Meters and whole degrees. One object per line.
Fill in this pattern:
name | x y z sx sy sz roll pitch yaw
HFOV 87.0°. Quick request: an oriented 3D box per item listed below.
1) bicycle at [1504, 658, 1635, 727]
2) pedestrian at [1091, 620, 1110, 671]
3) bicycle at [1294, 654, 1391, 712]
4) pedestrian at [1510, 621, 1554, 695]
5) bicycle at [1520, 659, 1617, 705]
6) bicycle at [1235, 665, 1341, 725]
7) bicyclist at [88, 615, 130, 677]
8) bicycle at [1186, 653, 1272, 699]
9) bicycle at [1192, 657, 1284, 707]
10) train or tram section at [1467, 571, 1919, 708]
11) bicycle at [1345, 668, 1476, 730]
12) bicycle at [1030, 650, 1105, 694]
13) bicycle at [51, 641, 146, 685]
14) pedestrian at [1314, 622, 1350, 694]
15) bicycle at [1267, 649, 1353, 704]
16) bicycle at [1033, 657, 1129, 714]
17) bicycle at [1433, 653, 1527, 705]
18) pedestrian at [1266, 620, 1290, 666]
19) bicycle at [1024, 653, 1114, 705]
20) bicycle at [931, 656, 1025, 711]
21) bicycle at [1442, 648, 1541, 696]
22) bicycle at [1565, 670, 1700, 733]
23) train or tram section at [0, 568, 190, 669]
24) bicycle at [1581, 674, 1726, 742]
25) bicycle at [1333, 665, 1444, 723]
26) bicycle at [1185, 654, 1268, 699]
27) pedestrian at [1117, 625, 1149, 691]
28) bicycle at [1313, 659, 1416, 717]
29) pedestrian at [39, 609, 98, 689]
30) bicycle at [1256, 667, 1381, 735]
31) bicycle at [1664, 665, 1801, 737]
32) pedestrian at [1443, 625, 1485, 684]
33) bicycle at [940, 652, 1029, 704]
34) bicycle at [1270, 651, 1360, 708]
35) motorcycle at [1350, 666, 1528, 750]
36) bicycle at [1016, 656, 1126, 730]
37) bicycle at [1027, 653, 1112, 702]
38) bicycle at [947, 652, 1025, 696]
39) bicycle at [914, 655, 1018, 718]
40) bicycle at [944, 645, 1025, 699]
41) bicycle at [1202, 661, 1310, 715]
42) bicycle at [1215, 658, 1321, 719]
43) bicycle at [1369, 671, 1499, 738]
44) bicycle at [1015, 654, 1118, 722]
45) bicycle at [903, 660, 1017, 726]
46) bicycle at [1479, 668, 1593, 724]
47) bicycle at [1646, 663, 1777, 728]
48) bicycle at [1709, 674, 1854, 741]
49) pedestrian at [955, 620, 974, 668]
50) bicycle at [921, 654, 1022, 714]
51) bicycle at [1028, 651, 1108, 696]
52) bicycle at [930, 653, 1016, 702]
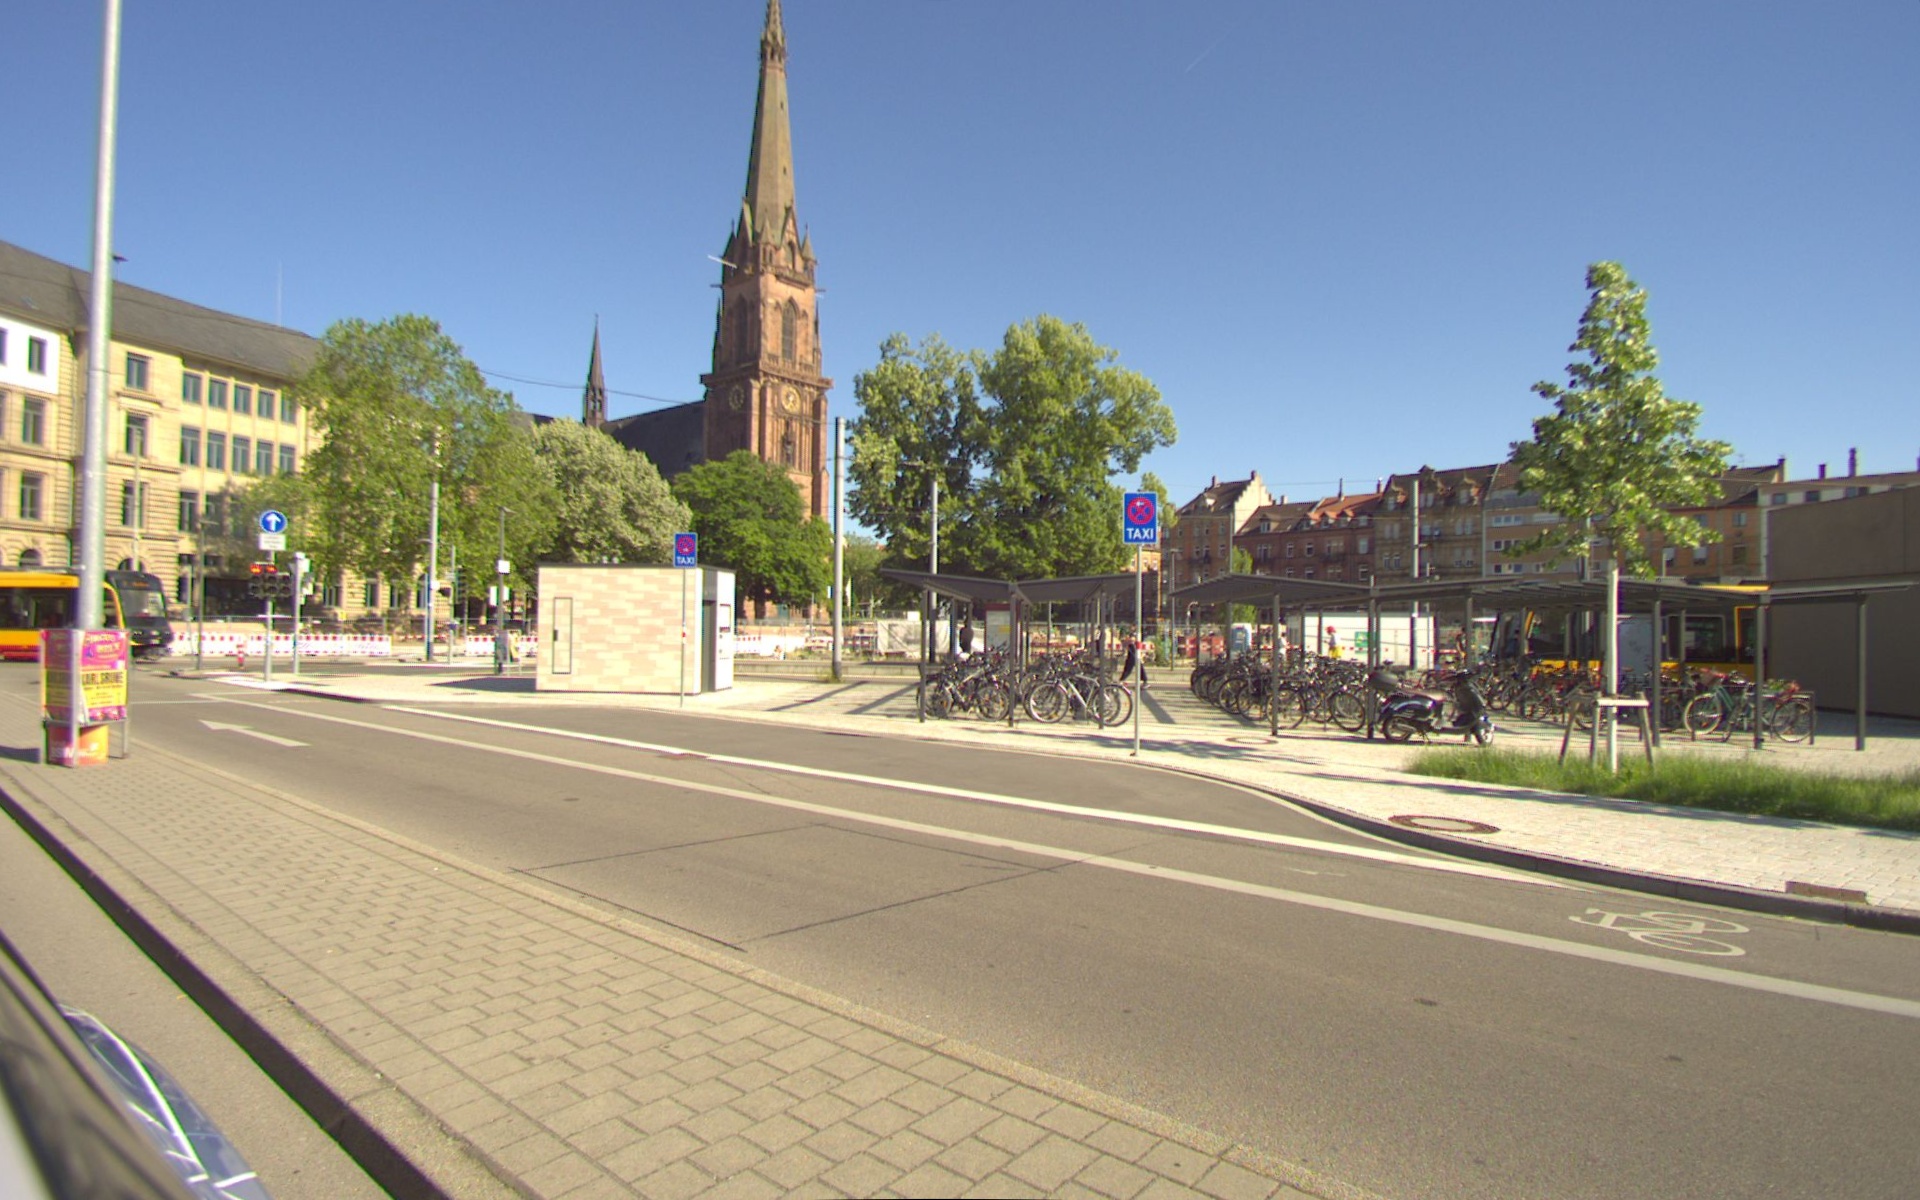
bicycle | 11.301 1.705 18.795 2.029 1.218 0.505 0 -2 8
pedestrian | 5.142 1.657 37.027 0.673 1.869 0.604 0 -2 6
bicycle | 8.115 1.748 21.523 1.808 1.170 0.627 0 -2 7
pedestrian | 14.774 1.477 26.140 0.700 1.869 0.751 2 -2 -38
bicycle | 14.057 1.882 23.400 1.808 1.015 0.627 0 -2 7
bicycle | 5.856 1.688 18.127 1.731 1.015 0.547 0 -2 10
bicyclist | -22.628 1.218 26.911 0.766 1.618 0.723 1 -2 -45
bicycle | 6.125 1.723 23.105 1.807 1.015 0.628 0 -2 5
bicycle | 5.973 1.759 21.801 1.805 1.015 0.629 0 -2 0
train or tram section | 21.339 1.063 28.702 12.179 3.628 2.748 0 -2 7
bicycle | 7.923 1.733 17.871 2.003 1.015 0.627 0 -2 7
bicycle | 2.637 1.761 24.804 1.808 1.015 0.627 0 -2 7
bicycle | -22.767 1.644 26.763 0.725 1.078 1.857 -1 -2 45
pedestrian | 9.804 1.519 26.697 0.595 1.869 0.683 2 -2 -38
bicycle | 8.240 1.787 23.871 1.808 1.242 0.627 0 -2 7
bicycle | 2.324 1.637 19.536 1.808 1.015 0.745 0 -2 7
bicycle | 12.005 1.816 23.397 1.809 1.140 0.627 0 -2 9
pedestrian | 14.225 1.933 45.232 0.861 2.029 0.749 0 -2 5
bicycle | 2.233 1.611 20.844 1.808 1.015 0.627 0 -2 7
bicycle | 0.364 1.638 19.980 1.809 1.015 0.627 0 -2 9
bicycle | 11.691 1.579 22.301 1.809 1.015 0.627 0 -2 9
bicycle | 11.606 1.744 17.520 1.872 1.004 0.499 0 -2 13
train or tram section | -35.948 0.667 38.288 12.174 3.628 2.828 0 -2 6
bicycle | 11.162 1.724 16.343 1.809 1.015 0.627 0 -2 9
bicycle | 8.004 1.751 18.965 1.808 1.015 0.627 0 -2 7
bicycle | 6.255 1.788 23.793 1.808 1.015 0.627 0 -2 6
pedestrian | 4.485 1.495 26.262 0.762 1.672 0.604 0 -2 4
bicycle | 8.078 1.749 20.257 1.808 1.088 0.627 0 -2 7
pedestrian | -21.200 1.167 24.081 0.946 1.864 0.732 4 -4 -41
bicycle | 5.981 1.679 16.973 1.871 1.050 0.688 0 -2 9
bicycle | 12.994 1.690 17.058 1.805 1.155 0.629 0 -2 0
pedestrian | 17.670 1.904 35.503 0.997 2.029 0.872 0 -2 0
bicycle | 0.516 1.618 21.135 1.809 1.015 0.627 0 -2 9
bicycle | 7.932 1.769 22.673 1.808 1.198 0.647 0 -2 7
motorcycle | 7.171 1.606 15.228 2.333 1.167 0.610 0 -2 7
bicycle | 1.868 1.558 17.129 1.808 1.167 0.627 1 -2 7
bicycle | 2.381 1.690 22.119 1.808 1.015 0.627 0 -2 7
bicycle | 0.624 1.753 24.110 1.809 1.015 0.627 0 -2 9
bicycle | 0.119 1.540 18.232 1.809 1.074 0.627 0 -2 9
bicycle | 0.566 1.649 23.410 1.809 1.188 0.627 0 -2 9
bicycle | 5.953 1.763 20.426 1.978 1.015 0.628 0 -2 4
bicycle | 5.880 1.684 19.405 1.859 1.101 0.626 0 -2 8
bicycle | 7.771 1.706 16.645 1.808 1.015 0.627 0 -2 7
bicycle | 1.913 1.580 18.271 1.808 1.157 0.627 0 -2 7
bicycle | 0.009 1.585 17.364 1.847 1.015 0.699 2 -2 9
bicycle | 11.265 1.875 19.835 1.809 1.015 0.627 0 -2 9
bicycle | 13.594 1.718 18.354 1.808 1.101 0.627 0 -2 7
bicycle | 13.023 1.697 16.071 1.803 1.015 0.629 1 -2 -3
pedestrian | 0.187 1.701 39.215 0.673 1.869 0.604 0 -2 7
bicycle | 0.216 1.546 18.761 1.809 1.059 0.571 0 -2 9
bicycle | 2.514 1.705 23.605 1.808 1.015 0.627 0 -2 7
bicycle | 0.293 1.693 22.167 1.809 1.015 0.627 0 -2 9
